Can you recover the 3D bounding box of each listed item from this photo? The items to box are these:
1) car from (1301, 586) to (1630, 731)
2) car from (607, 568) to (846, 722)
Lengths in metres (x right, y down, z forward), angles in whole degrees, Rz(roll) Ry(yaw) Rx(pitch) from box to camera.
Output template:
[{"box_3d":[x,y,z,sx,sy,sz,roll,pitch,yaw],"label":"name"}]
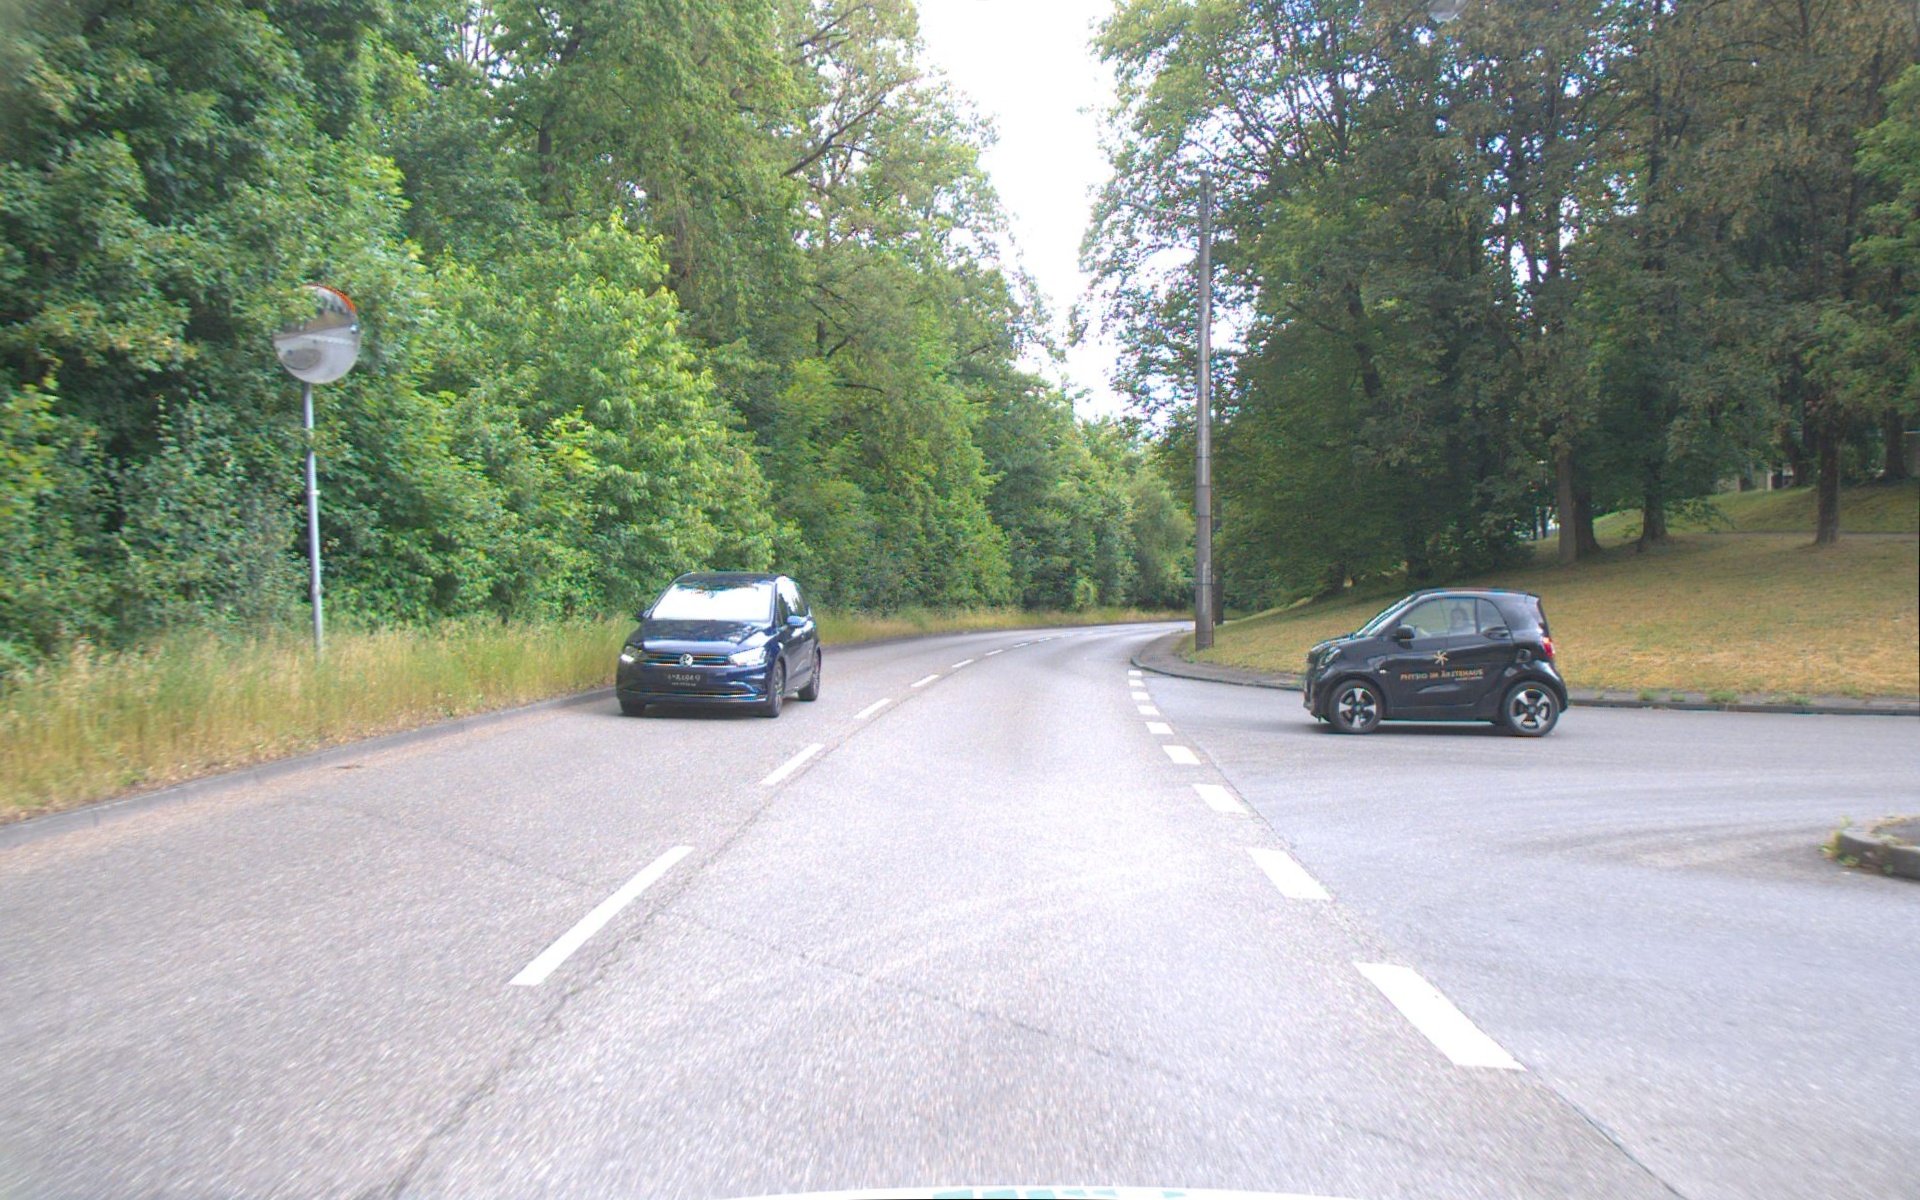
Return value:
[{"box_3d":[5.484,0.614,18.273,3.233,1.521,1.669,0,0,7],"label":"car"},{"box_3d":[-2.594,0.469,19.555,1.751,1.541,4.845,2,0,4],"label":"car"}]
